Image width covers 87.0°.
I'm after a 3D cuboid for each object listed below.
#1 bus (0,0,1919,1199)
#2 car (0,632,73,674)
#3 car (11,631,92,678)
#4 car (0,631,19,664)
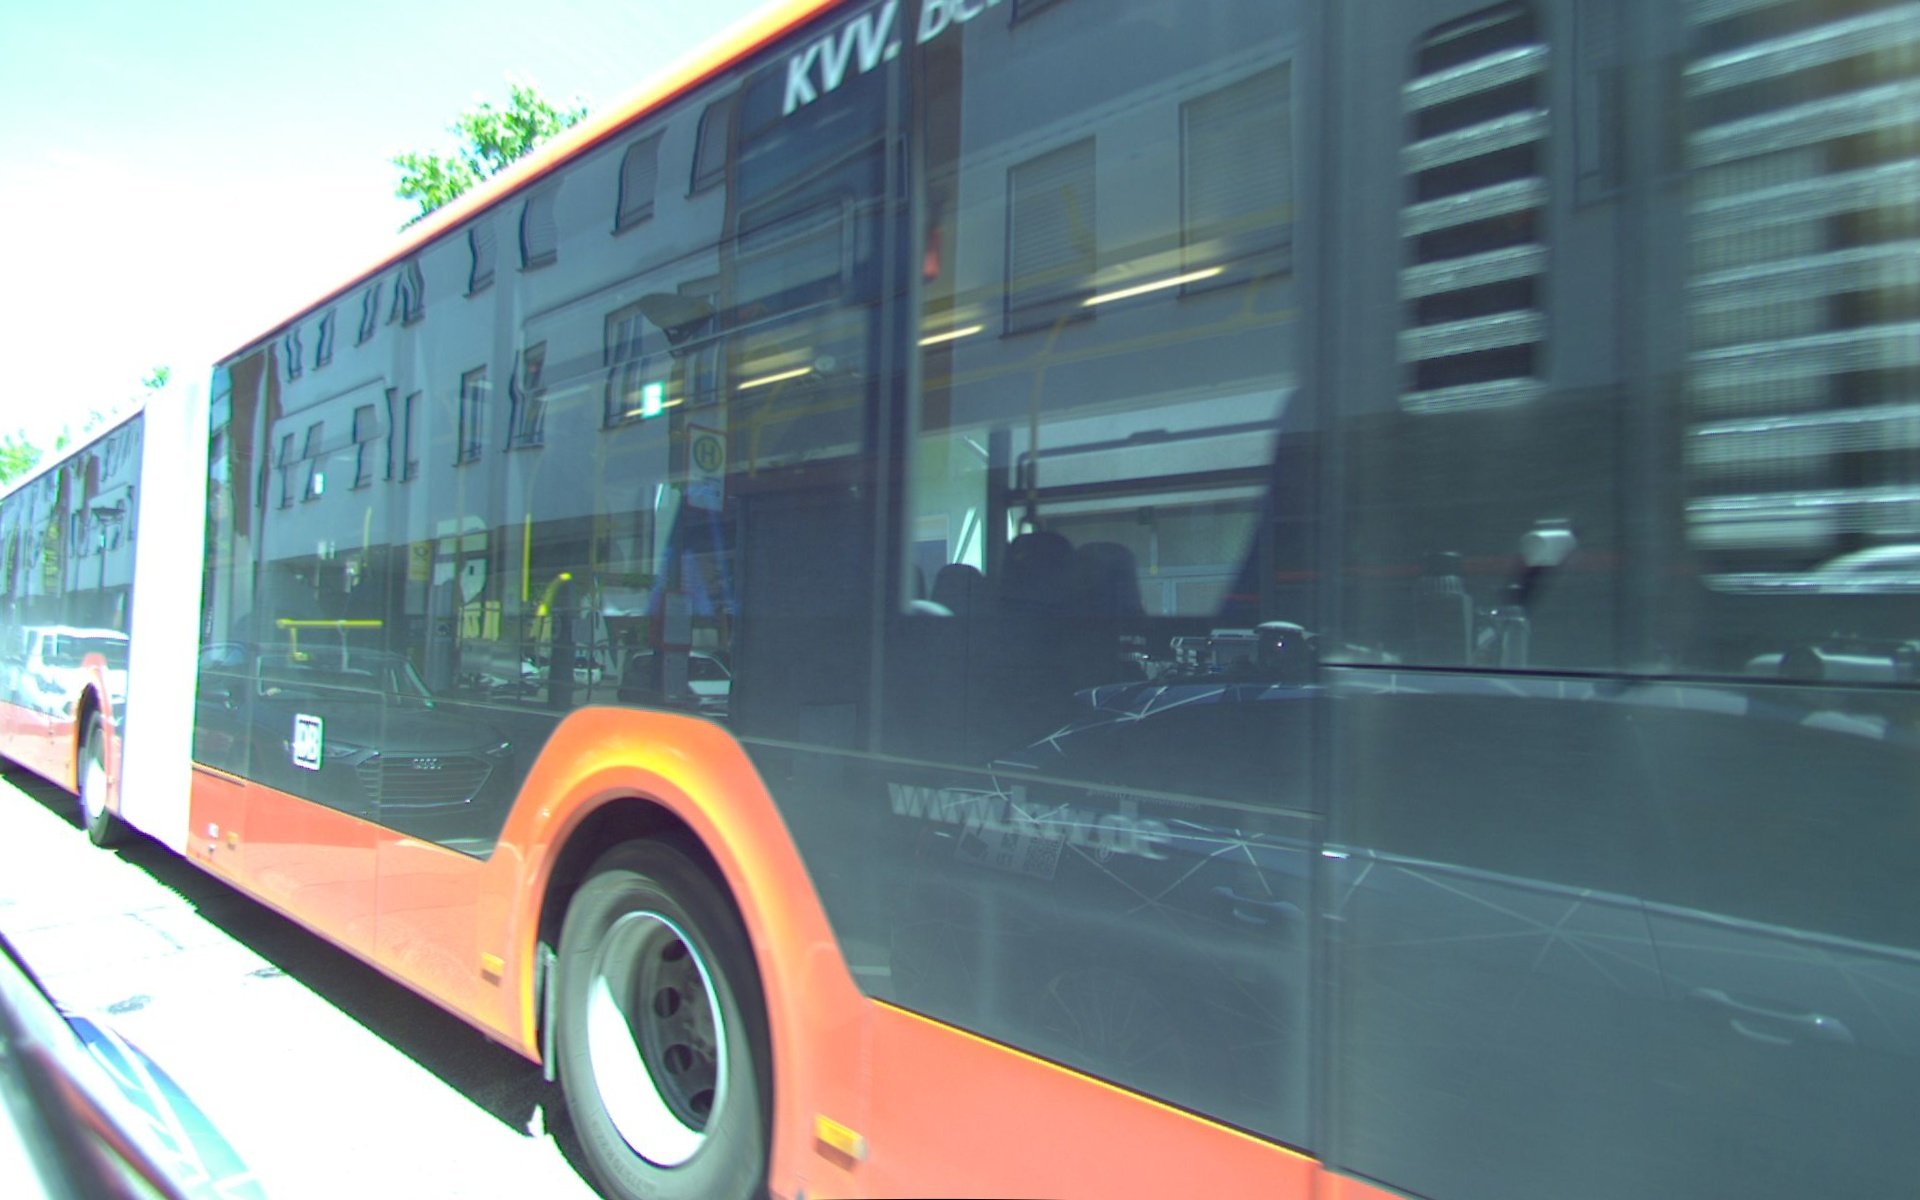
[{"bbox_3d":[-4.002,0.066,6.842,17.795,3.148,2.641,-2,-3,41],"label":"bus"},{"bbox_3d":[-33.979,1.928,37.097,4.097,1.441,1.628,-2,-4,41],"label":"car"},{"bbox_3d":[-29.526,1.753,32.867,3.408,1.441,1.537,-2,-4,41],"label":"car"},{"bbox_3d":[-43.472,2.110,45.226,4.156,1.418,1.639,-2,-3,42],"label":"car"}]
